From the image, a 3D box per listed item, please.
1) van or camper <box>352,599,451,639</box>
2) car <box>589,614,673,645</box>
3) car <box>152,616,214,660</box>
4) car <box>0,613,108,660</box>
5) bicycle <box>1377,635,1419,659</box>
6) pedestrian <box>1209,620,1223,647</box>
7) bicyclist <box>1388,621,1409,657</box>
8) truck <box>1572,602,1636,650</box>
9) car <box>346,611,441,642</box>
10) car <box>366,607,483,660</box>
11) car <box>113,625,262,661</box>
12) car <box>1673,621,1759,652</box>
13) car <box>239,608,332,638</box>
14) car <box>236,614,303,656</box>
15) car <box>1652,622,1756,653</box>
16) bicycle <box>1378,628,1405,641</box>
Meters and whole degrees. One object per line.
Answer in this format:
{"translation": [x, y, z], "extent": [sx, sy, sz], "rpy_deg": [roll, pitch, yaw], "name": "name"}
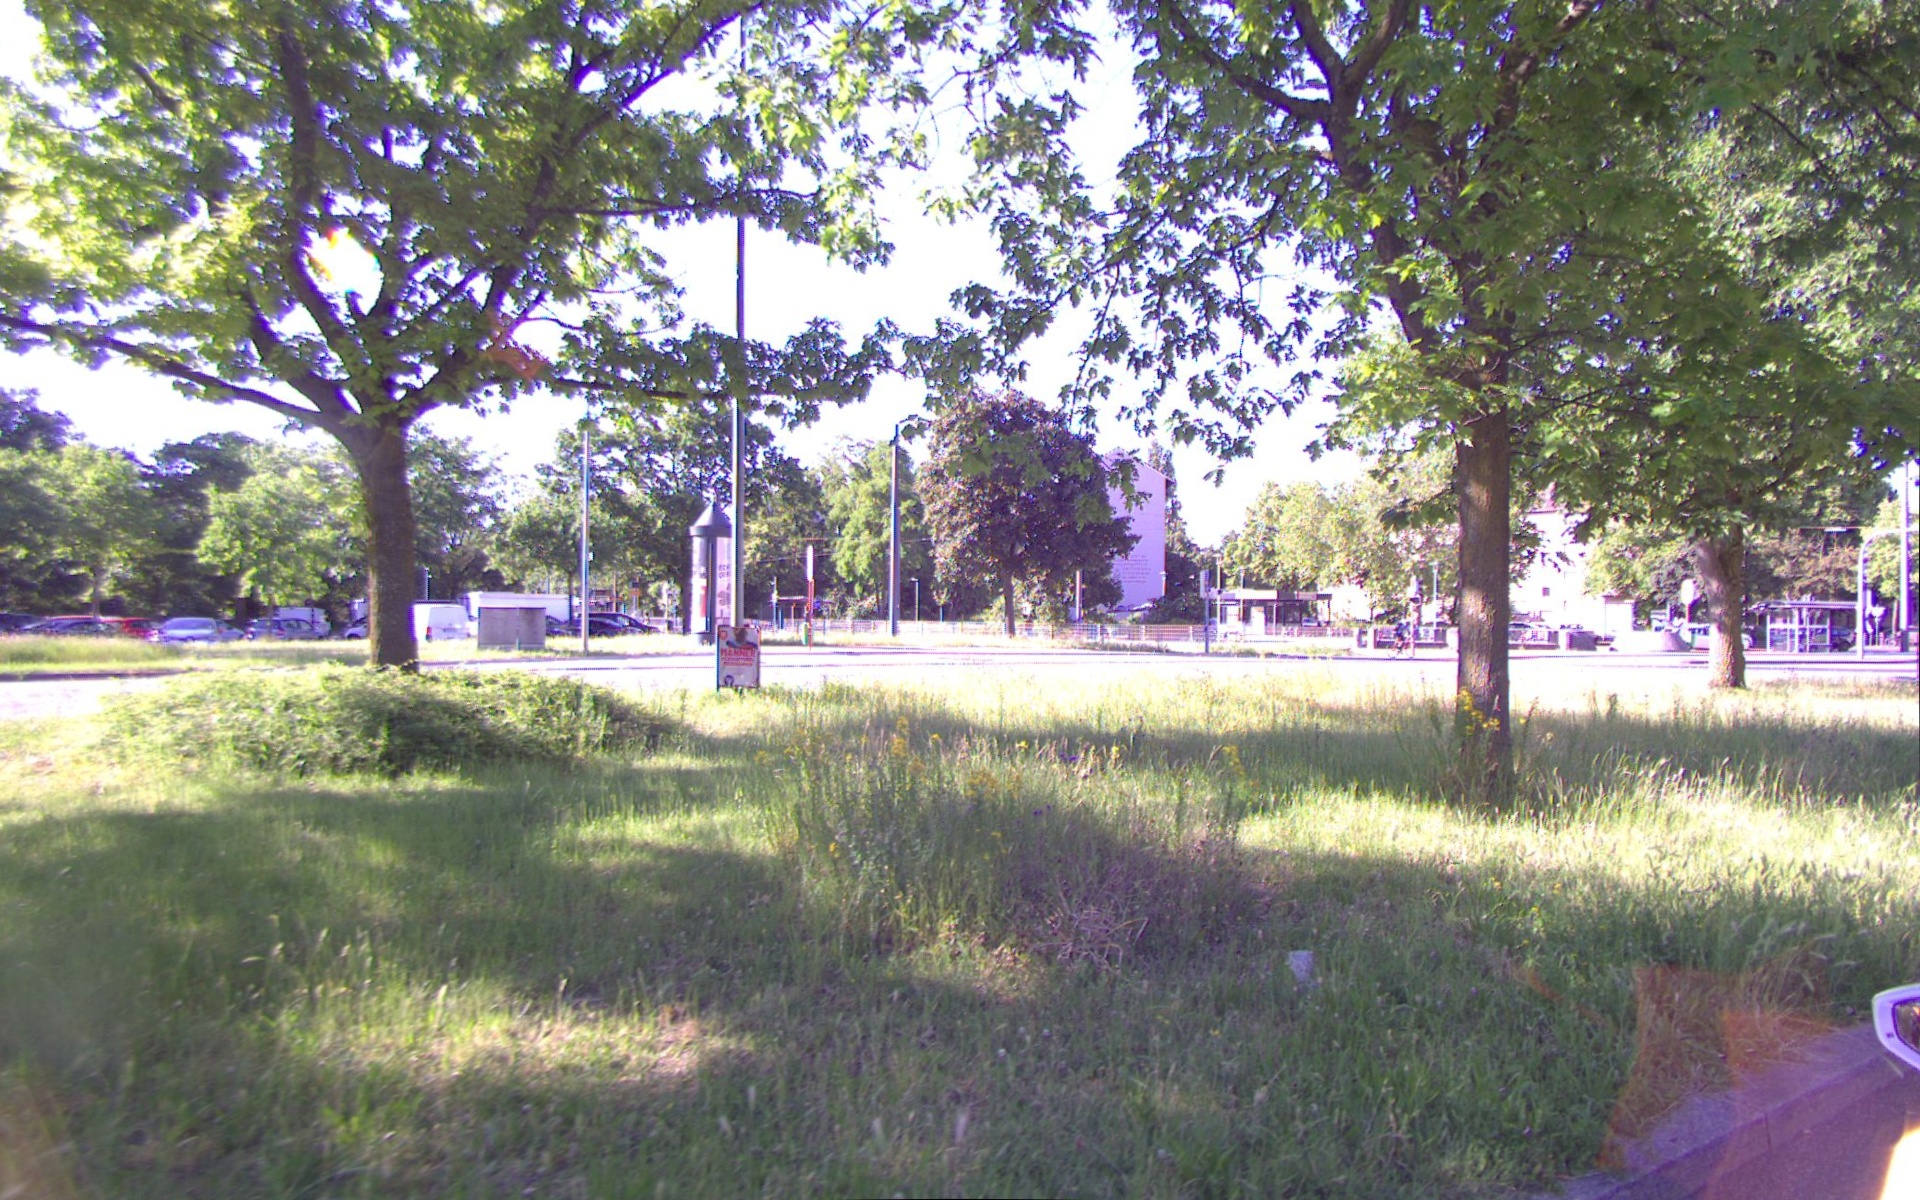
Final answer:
{"translation": [-30.685, 1.057, 55.281], "extent": [4.326, 2.124, 1.995], "rpy_deg": [1, -1, -14], "name": "van or camper"}
{"translation": [-18.140, 1.621, 55.393], "extent": [3.969, 1.588, 1.976], "rpy_deg": [1, -1, -41], "name": "car"}
{"translation": [-34.390, 1.656, 44.522], "extent": [1.635, 1.628, 3.854], "rpy_deg": [1, 2, -30], "name": "car"}
{"translation": [-30.719, 1.188, 32.845], "extent": [3.929, 1.467, 1.818], "rpy_deg": [1, -1, -11], "name": "car"}
{"translation": [19.368, 2.060, 44.430], "extent": [1.625, 1.014, 0.614], "rpy_deg": [0, 1, 3], "name": "bicycle"}
{"translation": [17.859, 2.330, 70.068], "extent": [0.714, 1.853, 0.559], "rpy_deg": [1, 0, -9], "name": "pedestrian"}
{"translation": [19.398, 1.705, 44.421], "extent": [0.662, 1.551, 0.614], "rpy_deg": [0, 1, 3], "name": "bicyclist"}
{"translation": [42.077, 1.649, 65.785], "extent": [1.959, 3.035, 4.831], "rpy_deg": [0, 0, 12], "name": "truck"}
{"translation": [-29.806, 1.396, 52.967], "extent": [3.932, 1.493, 1.963], "rpy_deg": [1, 2, -14], "name": "car"}
{"translation": [-21.909, 1.318, 41.051], "extent": [4.917, 2.040, 2.232], "rpy_deg": [0, -1, 35], "name": "car"}
{"translation": [-26.540, 1.466, 34.676], "extent": [3.963, 1.143, 1.803], "rpy_deg": [1, -1, -37], "name": "car"}
{"translation": [45.670, 2.181, 60.727], "extent": [3.922, 1.741, 1.763], "rpy_deg": [0, 2, -3], "name": "car"}
{"translation": [-37.425, 1.252, 55.832], "extent": [3.942, 1.530, 1.989], "rpy_deg": [-1, 0, -23], "name": "car"}
{"translation": [-31.882, 1.601, 46.456], "extent": [1.629, 1.628, 3.866], "rpy_deg": [1, 2, -21], "name": "car"}
{"translation": [43.266, 2.171, 58.512], "extent": [4.457, 1.565, 1.873], "rpy_deg": [1, 2, 14], "name": "car"}
{"translation": [29.876, 2.396, 69.556], "extent": [1.652, 0.850, 0.548], "rpy_deg": [0, 0, 18], "name": "bicycle"}
